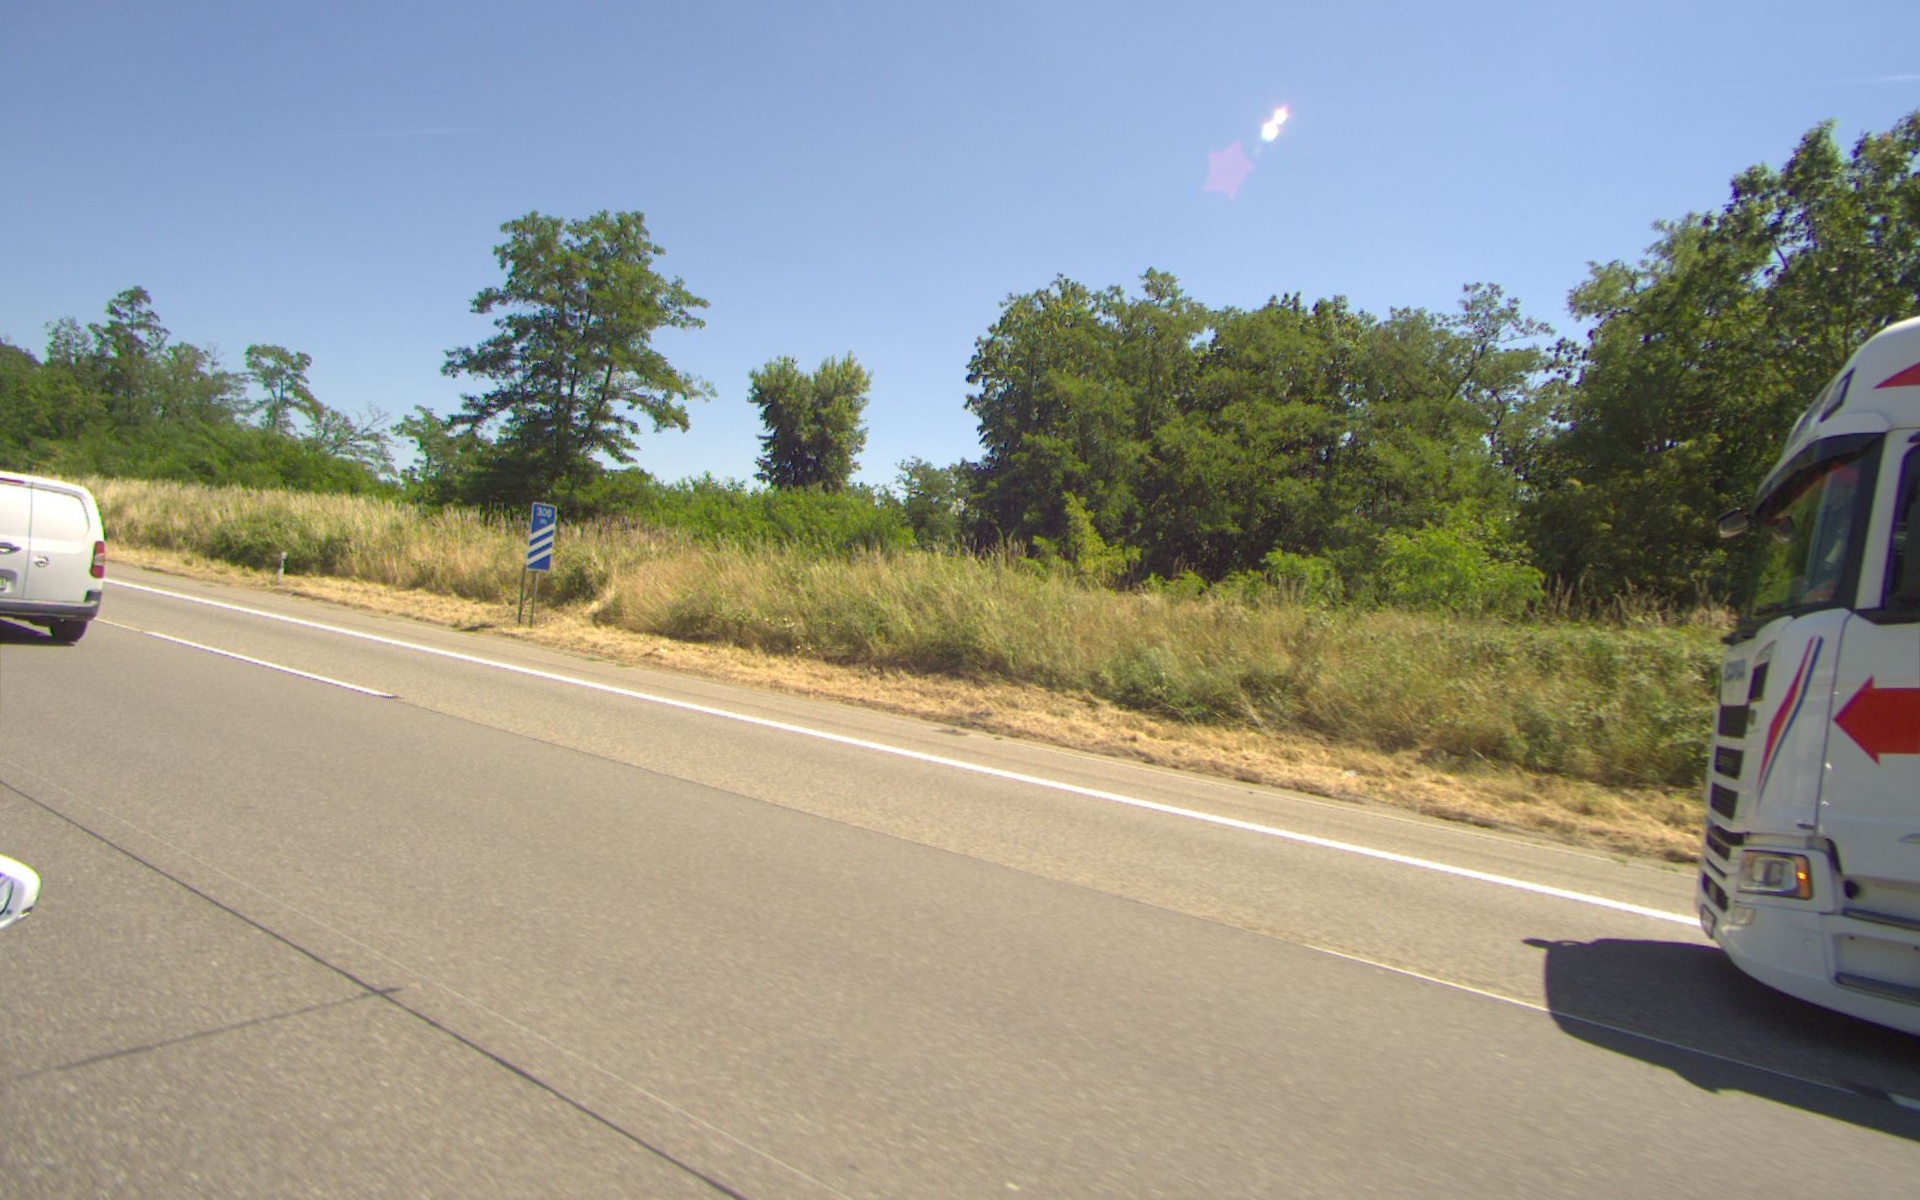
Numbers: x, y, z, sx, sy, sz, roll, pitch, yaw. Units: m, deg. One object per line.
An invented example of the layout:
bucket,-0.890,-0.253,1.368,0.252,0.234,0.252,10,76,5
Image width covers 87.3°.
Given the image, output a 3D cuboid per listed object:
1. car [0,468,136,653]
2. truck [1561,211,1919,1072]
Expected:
car,-11.875,-0.635,11.750,4.859,1.838,1.869,6,-2,32
truck,6.695,0.440,4.911,6.071,4.049,2.602,6,-1,32
